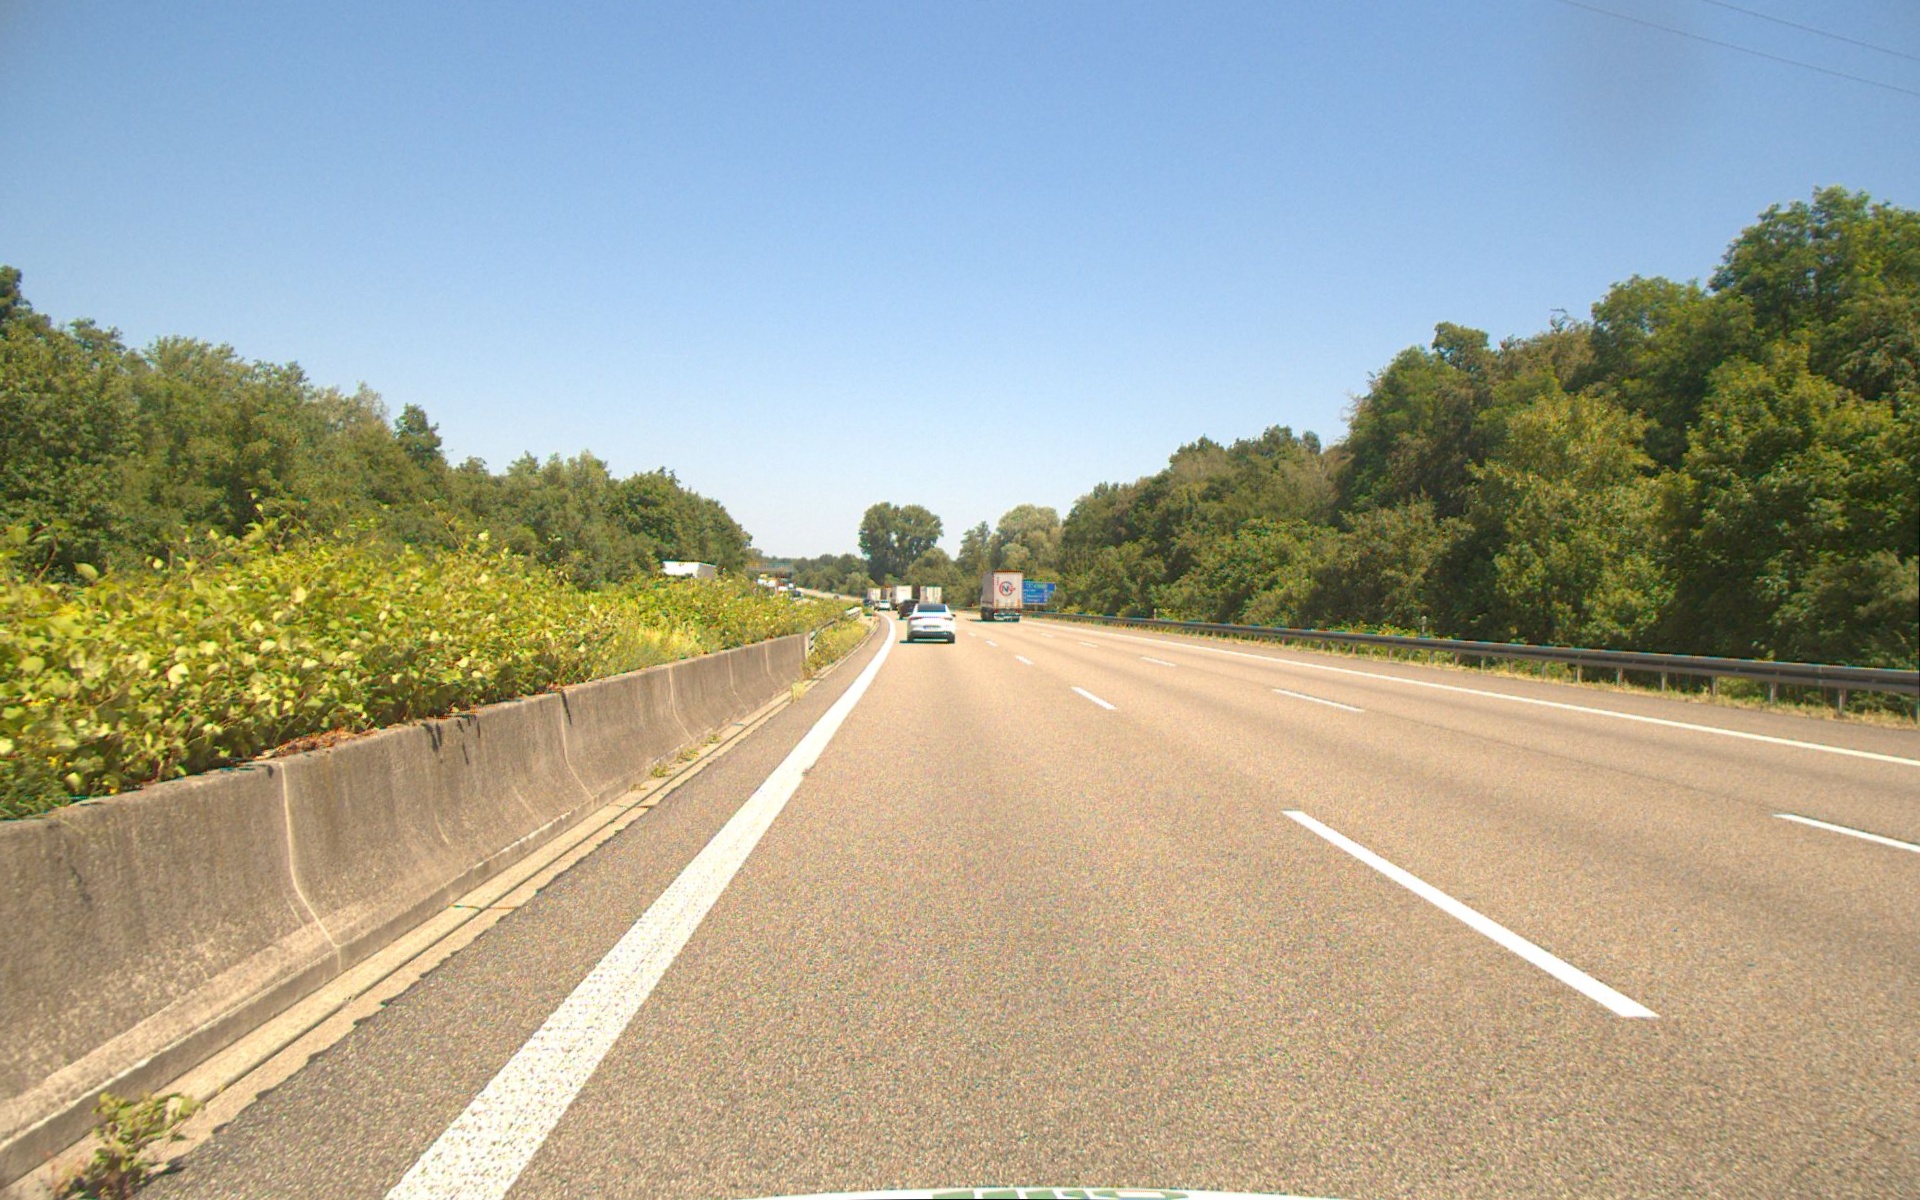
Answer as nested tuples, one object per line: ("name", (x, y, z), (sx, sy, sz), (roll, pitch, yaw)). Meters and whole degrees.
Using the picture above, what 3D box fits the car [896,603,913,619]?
("car", (-7.037, 1.383, 208.787), (1.955, 2.049, 3.996), (1, 0, -5))

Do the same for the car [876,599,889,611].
("car", (-11.716, 0.775, 251.371), (1.691, 1.814, 3.994), (1, 0, -7))

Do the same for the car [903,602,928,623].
("car", (-3.834, 1.078, 143.346), (1.954, 1.803, 3.997), (1, 0, -4))

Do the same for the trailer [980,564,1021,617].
("trailer", (3.415, -0.797, 142.728), (2.571, 4.335, 14.054), (1, 0, -2))

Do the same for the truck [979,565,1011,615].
("truck", (3.152, -0.879, 149.468), (2.553, 4.362, 5.434), (1, 0, -2))

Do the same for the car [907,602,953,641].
("car", (-1.105, 0.804, 62.211), (1.680, 1.393, 3.374), (1, 0, -1))

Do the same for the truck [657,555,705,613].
("truck", (-20.192, -1.116, 119.932), (2.607, 4.054, 6.550), (1, 0, -3))
